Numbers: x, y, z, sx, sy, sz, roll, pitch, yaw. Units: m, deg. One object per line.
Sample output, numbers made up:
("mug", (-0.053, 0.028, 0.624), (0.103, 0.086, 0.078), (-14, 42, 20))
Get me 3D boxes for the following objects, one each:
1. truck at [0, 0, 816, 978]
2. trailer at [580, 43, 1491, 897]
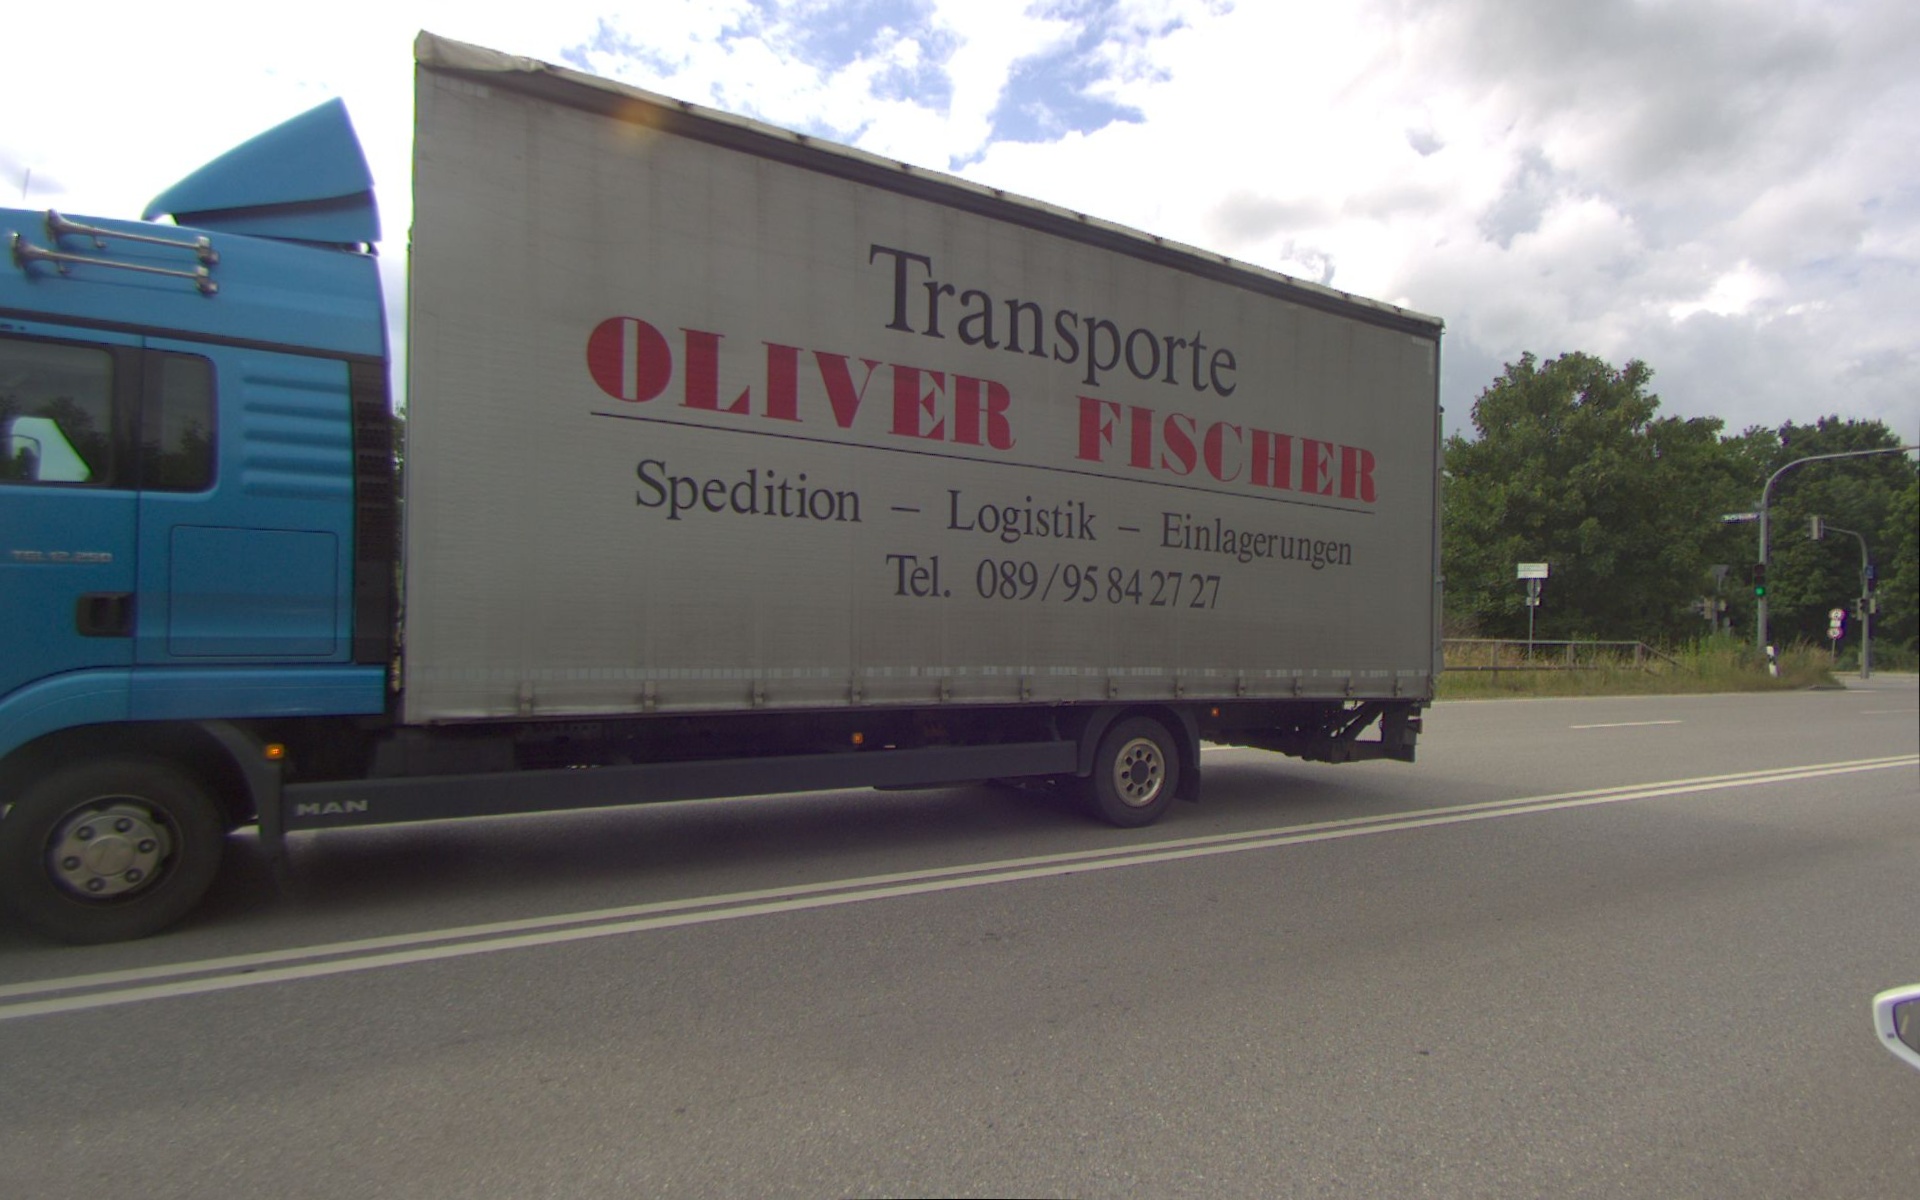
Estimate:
("truck", (-3.115, -0.672, 5.294), (3.953, 4.150, 2.528), (2, -1, -30))
("trailer", (0.858, -0.537, 7.668), (6.656, 4.155, 2.515), (2, -1, -30))
